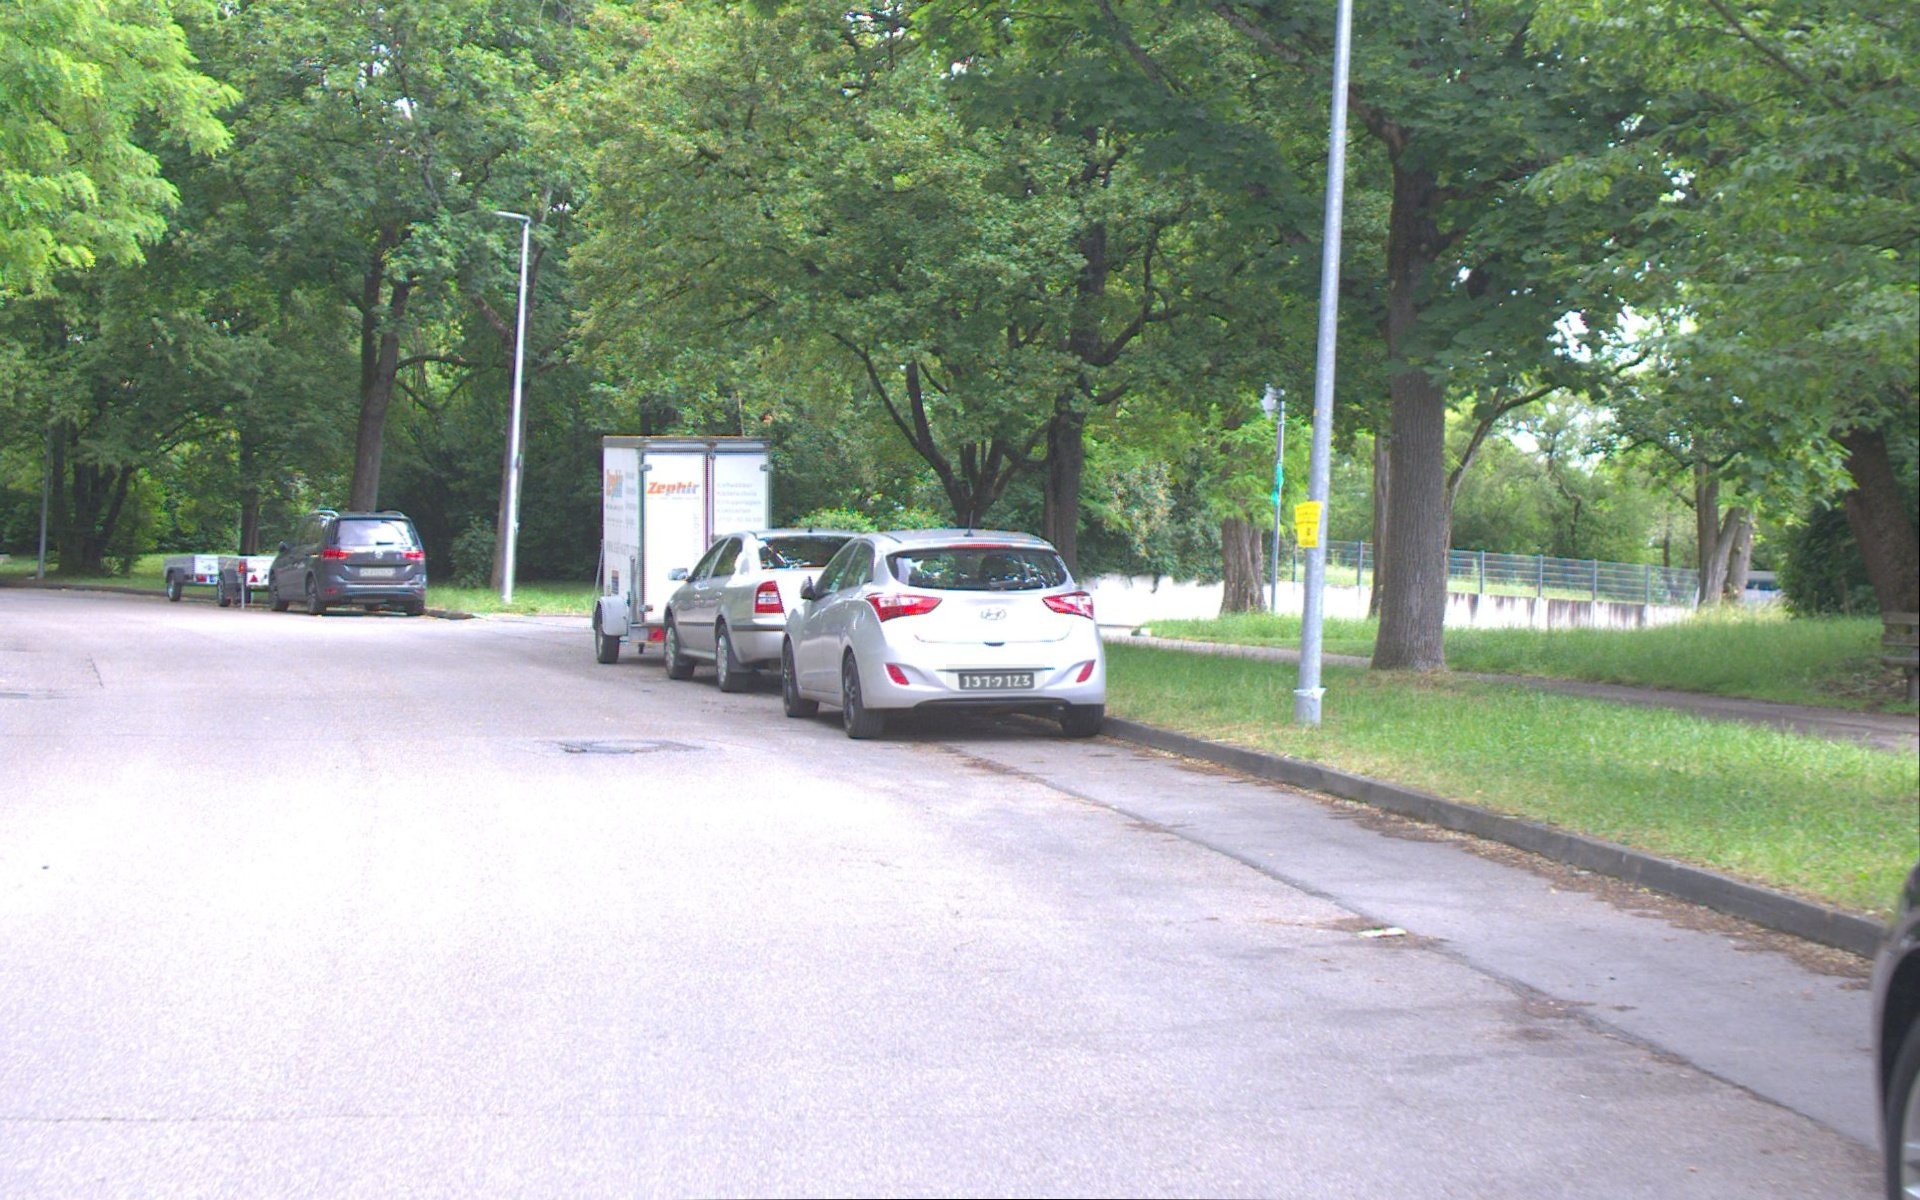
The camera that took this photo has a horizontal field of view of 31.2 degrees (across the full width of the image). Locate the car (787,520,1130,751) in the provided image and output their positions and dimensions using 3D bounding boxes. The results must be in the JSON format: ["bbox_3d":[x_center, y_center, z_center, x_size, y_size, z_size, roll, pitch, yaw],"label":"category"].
[{"bbox_3d":[-0.107,0.199,25.197,1.902,1.471,4.060,2,1,-8],"label":"car"}]

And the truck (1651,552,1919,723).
[{"bbox_3d":[21.077,1.020,86.667,2.695,3.984,9.548,1,-2,41],"label":"truck"}]

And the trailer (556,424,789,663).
[{"bbox_3d":[-3.147,-0.613,36.969,1.760,2.418,3.888,0,1,-16],"label":"trailer"}]

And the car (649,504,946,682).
[{"bbox_3d":[-1.587,-0.097,31.786,1.740,1.520,4.637,0,1,-16],"label":"car"}]

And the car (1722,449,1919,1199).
[{"bbox_3d":[2.730,0.586,4.991,1.848,1.637,4.531,1,1,-5],"label":"car"}]

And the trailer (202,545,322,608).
[{"bbox_3d":[-12.328,-0.422,60.611,1.357,0.965,3.894,2,1,-22],"label":"trailer"}]

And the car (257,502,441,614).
[{"bbox_3d":[-9.827,-0.673,55.035,1.775,1.657,4.842,2,0,-23],"label":"car"}]

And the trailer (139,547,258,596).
[{"bbox_3d":[-14.403,-0.525,64.939,1.363,0.845,3.279,3,-1,-27],"label":"trailer"}]
